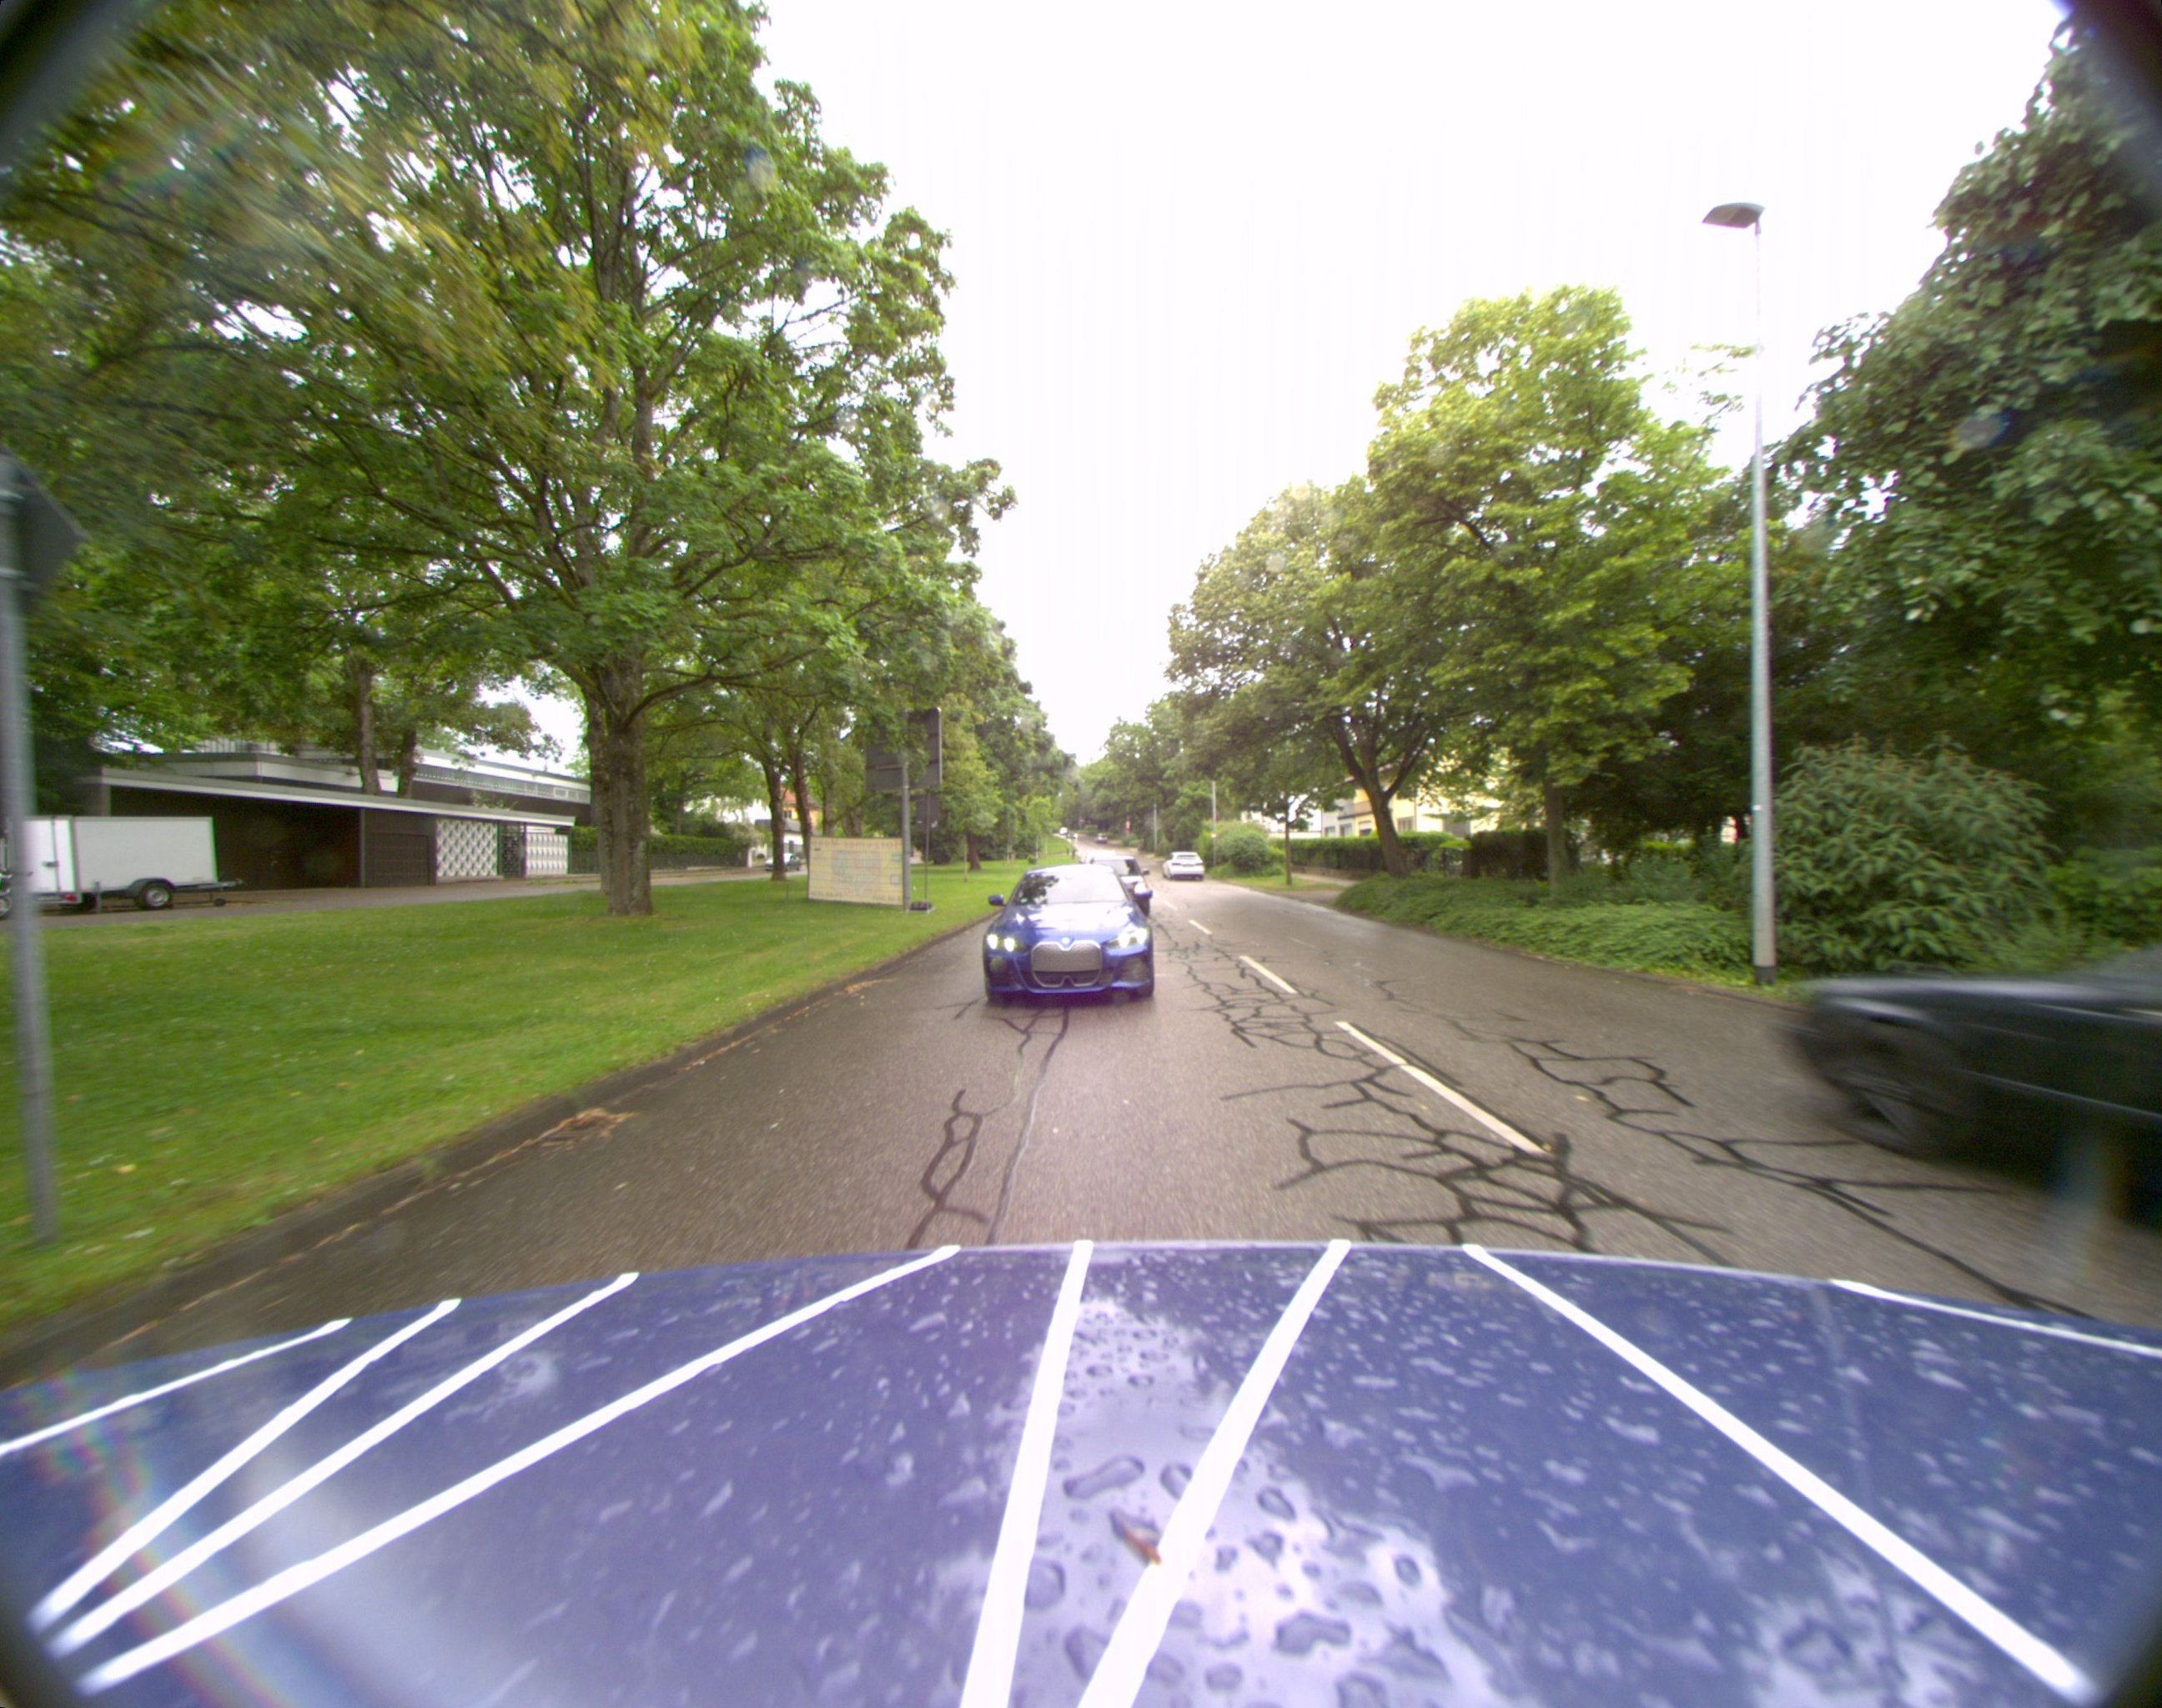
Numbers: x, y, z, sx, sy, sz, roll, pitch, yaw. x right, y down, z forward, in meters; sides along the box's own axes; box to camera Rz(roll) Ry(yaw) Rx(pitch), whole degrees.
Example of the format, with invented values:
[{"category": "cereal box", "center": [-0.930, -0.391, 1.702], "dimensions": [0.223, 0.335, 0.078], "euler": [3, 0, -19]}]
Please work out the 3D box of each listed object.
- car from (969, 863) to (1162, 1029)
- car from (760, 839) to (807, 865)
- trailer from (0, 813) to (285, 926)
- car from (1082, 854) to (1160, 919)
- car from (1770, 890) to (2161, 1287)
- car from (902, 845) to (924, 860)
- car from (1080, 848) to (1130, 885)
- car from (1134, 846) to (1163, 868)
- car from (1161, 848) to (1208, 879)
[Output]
[{"category": "car", "center": [-0.127, 0.924, 9.449], "dimensions": [1.826, 1.471, 4.067], "euler": [-2, 1, 1]}, {"category": "car", "center": [-22.896, -0.166, 58.619], "dimensions": [1.998, 2.002, 4.000], "euler": [0, 1, 1]}, {"category": "trailer", "center": [-21.110, 0.293, 16.690], "dimensions": [1.771, 2.104, 5.191], "euler": [-2, 1, -1]}, {"category": "car", "center": [0.999, 0.780, 20.439], "dimensions": [1.826, 1.471, 4.067], "euler": [-2, 1, 1]}, {"category": "car", "center": [4.787, 0.908, 2.088], "dimensions": [1.769, 1.341, 4.376], "euler": [1, 1, 0]}, {"category": "car", "center": [-23.556, -0.236, 106.743], "dimensions": [1.998, 2.002, 3.999], "euler": [-2, 1, 1]}, {"category": "car", "center": [1.145, 0.506, 34.101], "dimensions": [2.031, 1.471, 4.068], "euler": [-2, 1, 4]}, {"category": "car", "center": [5.154, 0.212, 58.479], "dimensions": [1.826, 1.471, 4.066], "euler": [-2, 2, 1]}, {"category": "car", "center": [5.328, 0.443, 39.488], "dimensions": [1.826, 1.471, 4.066], "euler": [0, 1, -1]}]
